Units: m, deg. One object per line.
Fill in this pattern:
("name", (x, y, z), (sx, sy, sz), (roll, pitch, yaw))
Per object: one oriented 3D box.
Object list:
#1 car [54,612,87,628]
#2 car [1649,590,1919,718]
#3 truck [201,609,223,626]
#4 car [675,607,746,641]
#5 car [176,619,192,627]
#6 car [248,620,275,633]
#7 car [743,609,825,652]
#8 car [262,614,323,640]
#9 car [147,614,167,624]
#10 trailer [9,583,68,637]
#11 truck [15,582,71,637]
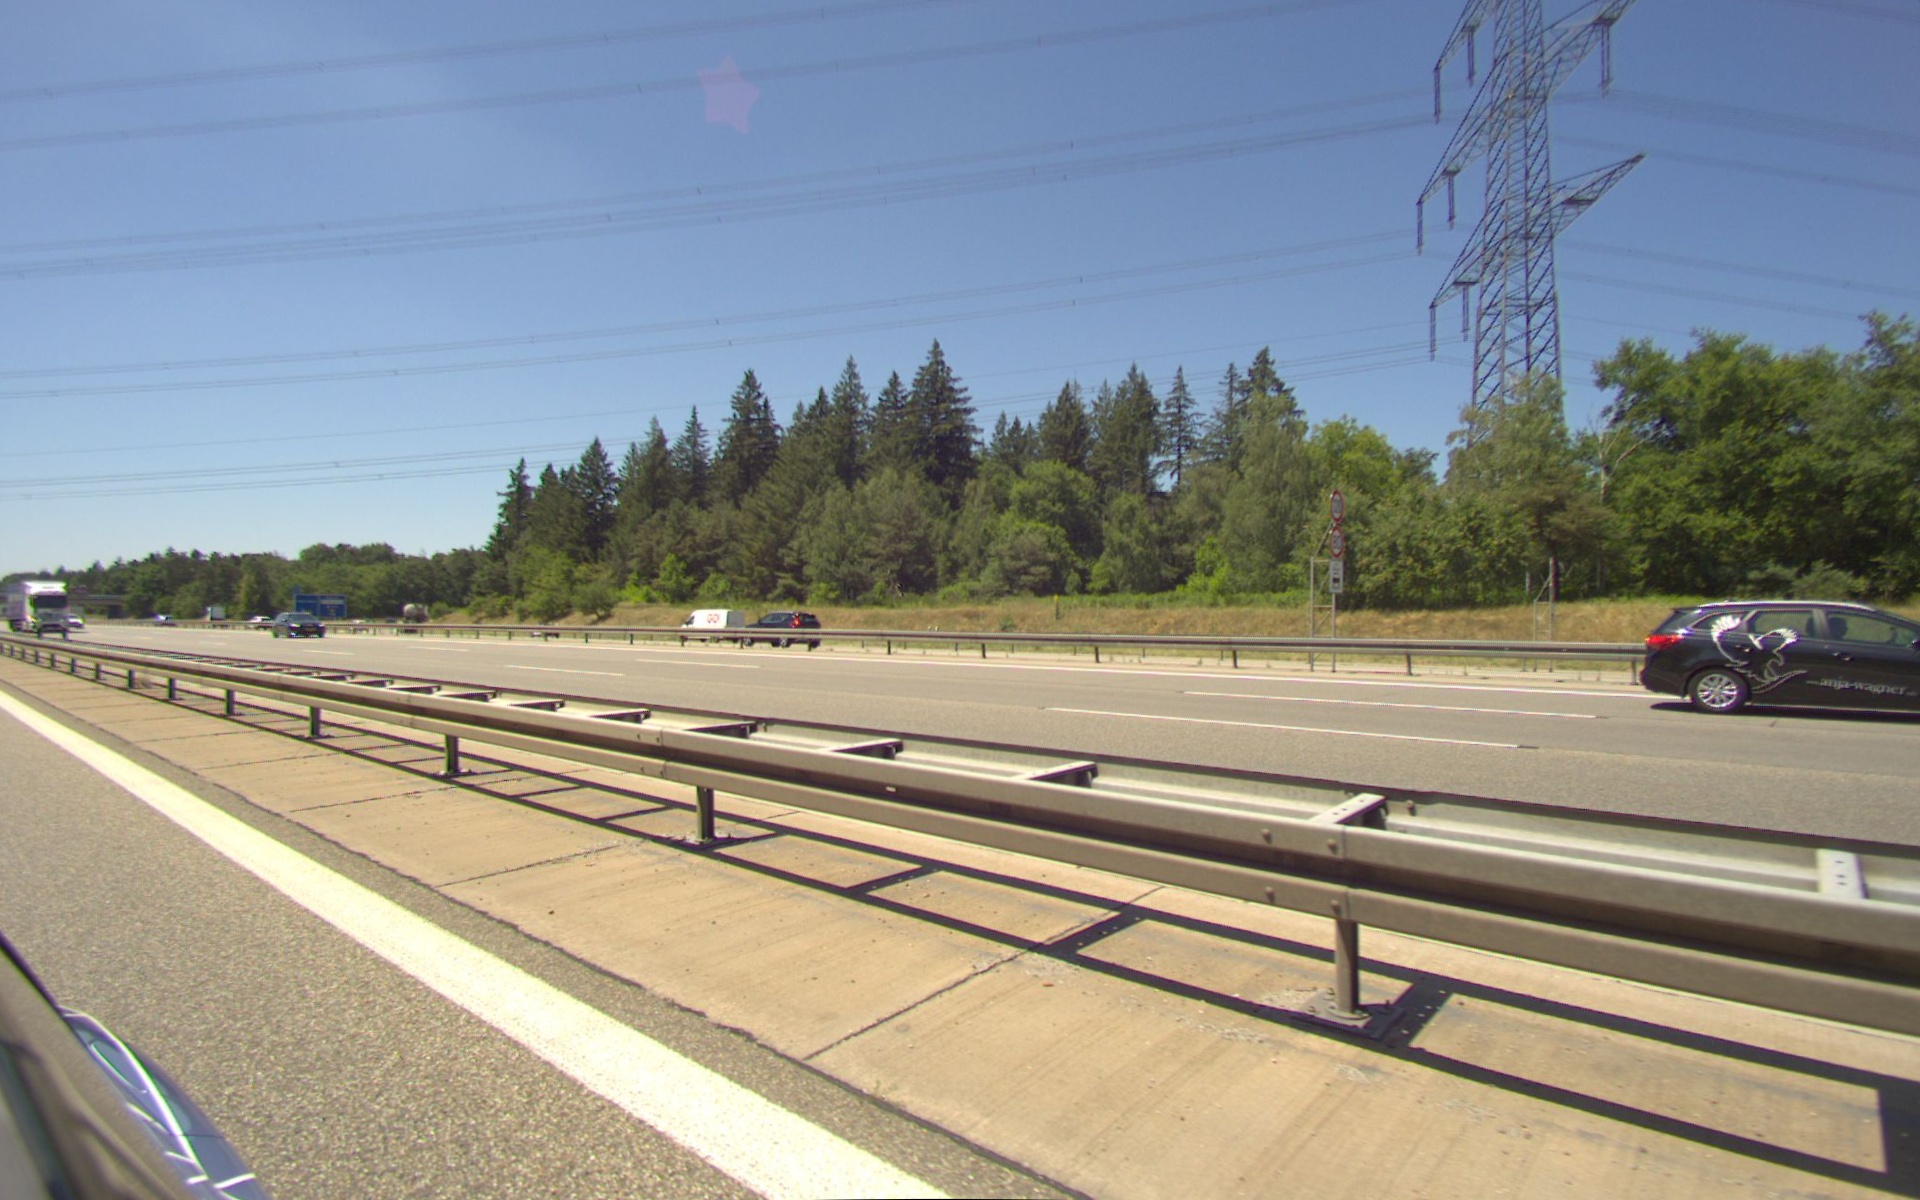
("car", (-90.408, 2.028, 102.855), (5.403, 1.515, 1.943), (0, 0, 42))
("car", (11.496, 0.643, 12.631), (4.596, 1.486, 1.685), (-1, -1, 42))
("truck", (-140.574, 3.278, 190.195), (5.080, 3.047, 2.499), (-1, -2, 42))
("car", (-19.752, 1.880, 80.049), (6.456, 2.534, 2.280), (-1, -1, 42))
("car", (-142.850, 4.227, 186.305), (4.060, 1.618, 1.685), (-1, -1, 42))
("car", (-79.975, 3.004, 115.793), (4.060, 1.486, 1.685), (-1, -1, 42))
("car", (-8.046, 1.359, 46.143), (1.718, 1.884, 4.002), (0, -1, -45))
("car", (-38.464, 1.535, 58.264), (4.999, 1.442, 1.812), (-1, -1, 43))
("car", (-120.080, 2.884, 151.333), (4.060, 1.486, 1.685), (-1, -1, 42))
("trailer", (-76.102, 0.865, 83.511), (11.700, 4.174, 2.941), (-1, -2, 45))
("truck", (-72.216, 0.781, 79.669), (5.351, 4.174, 2.939), (-1, -2, 44))
